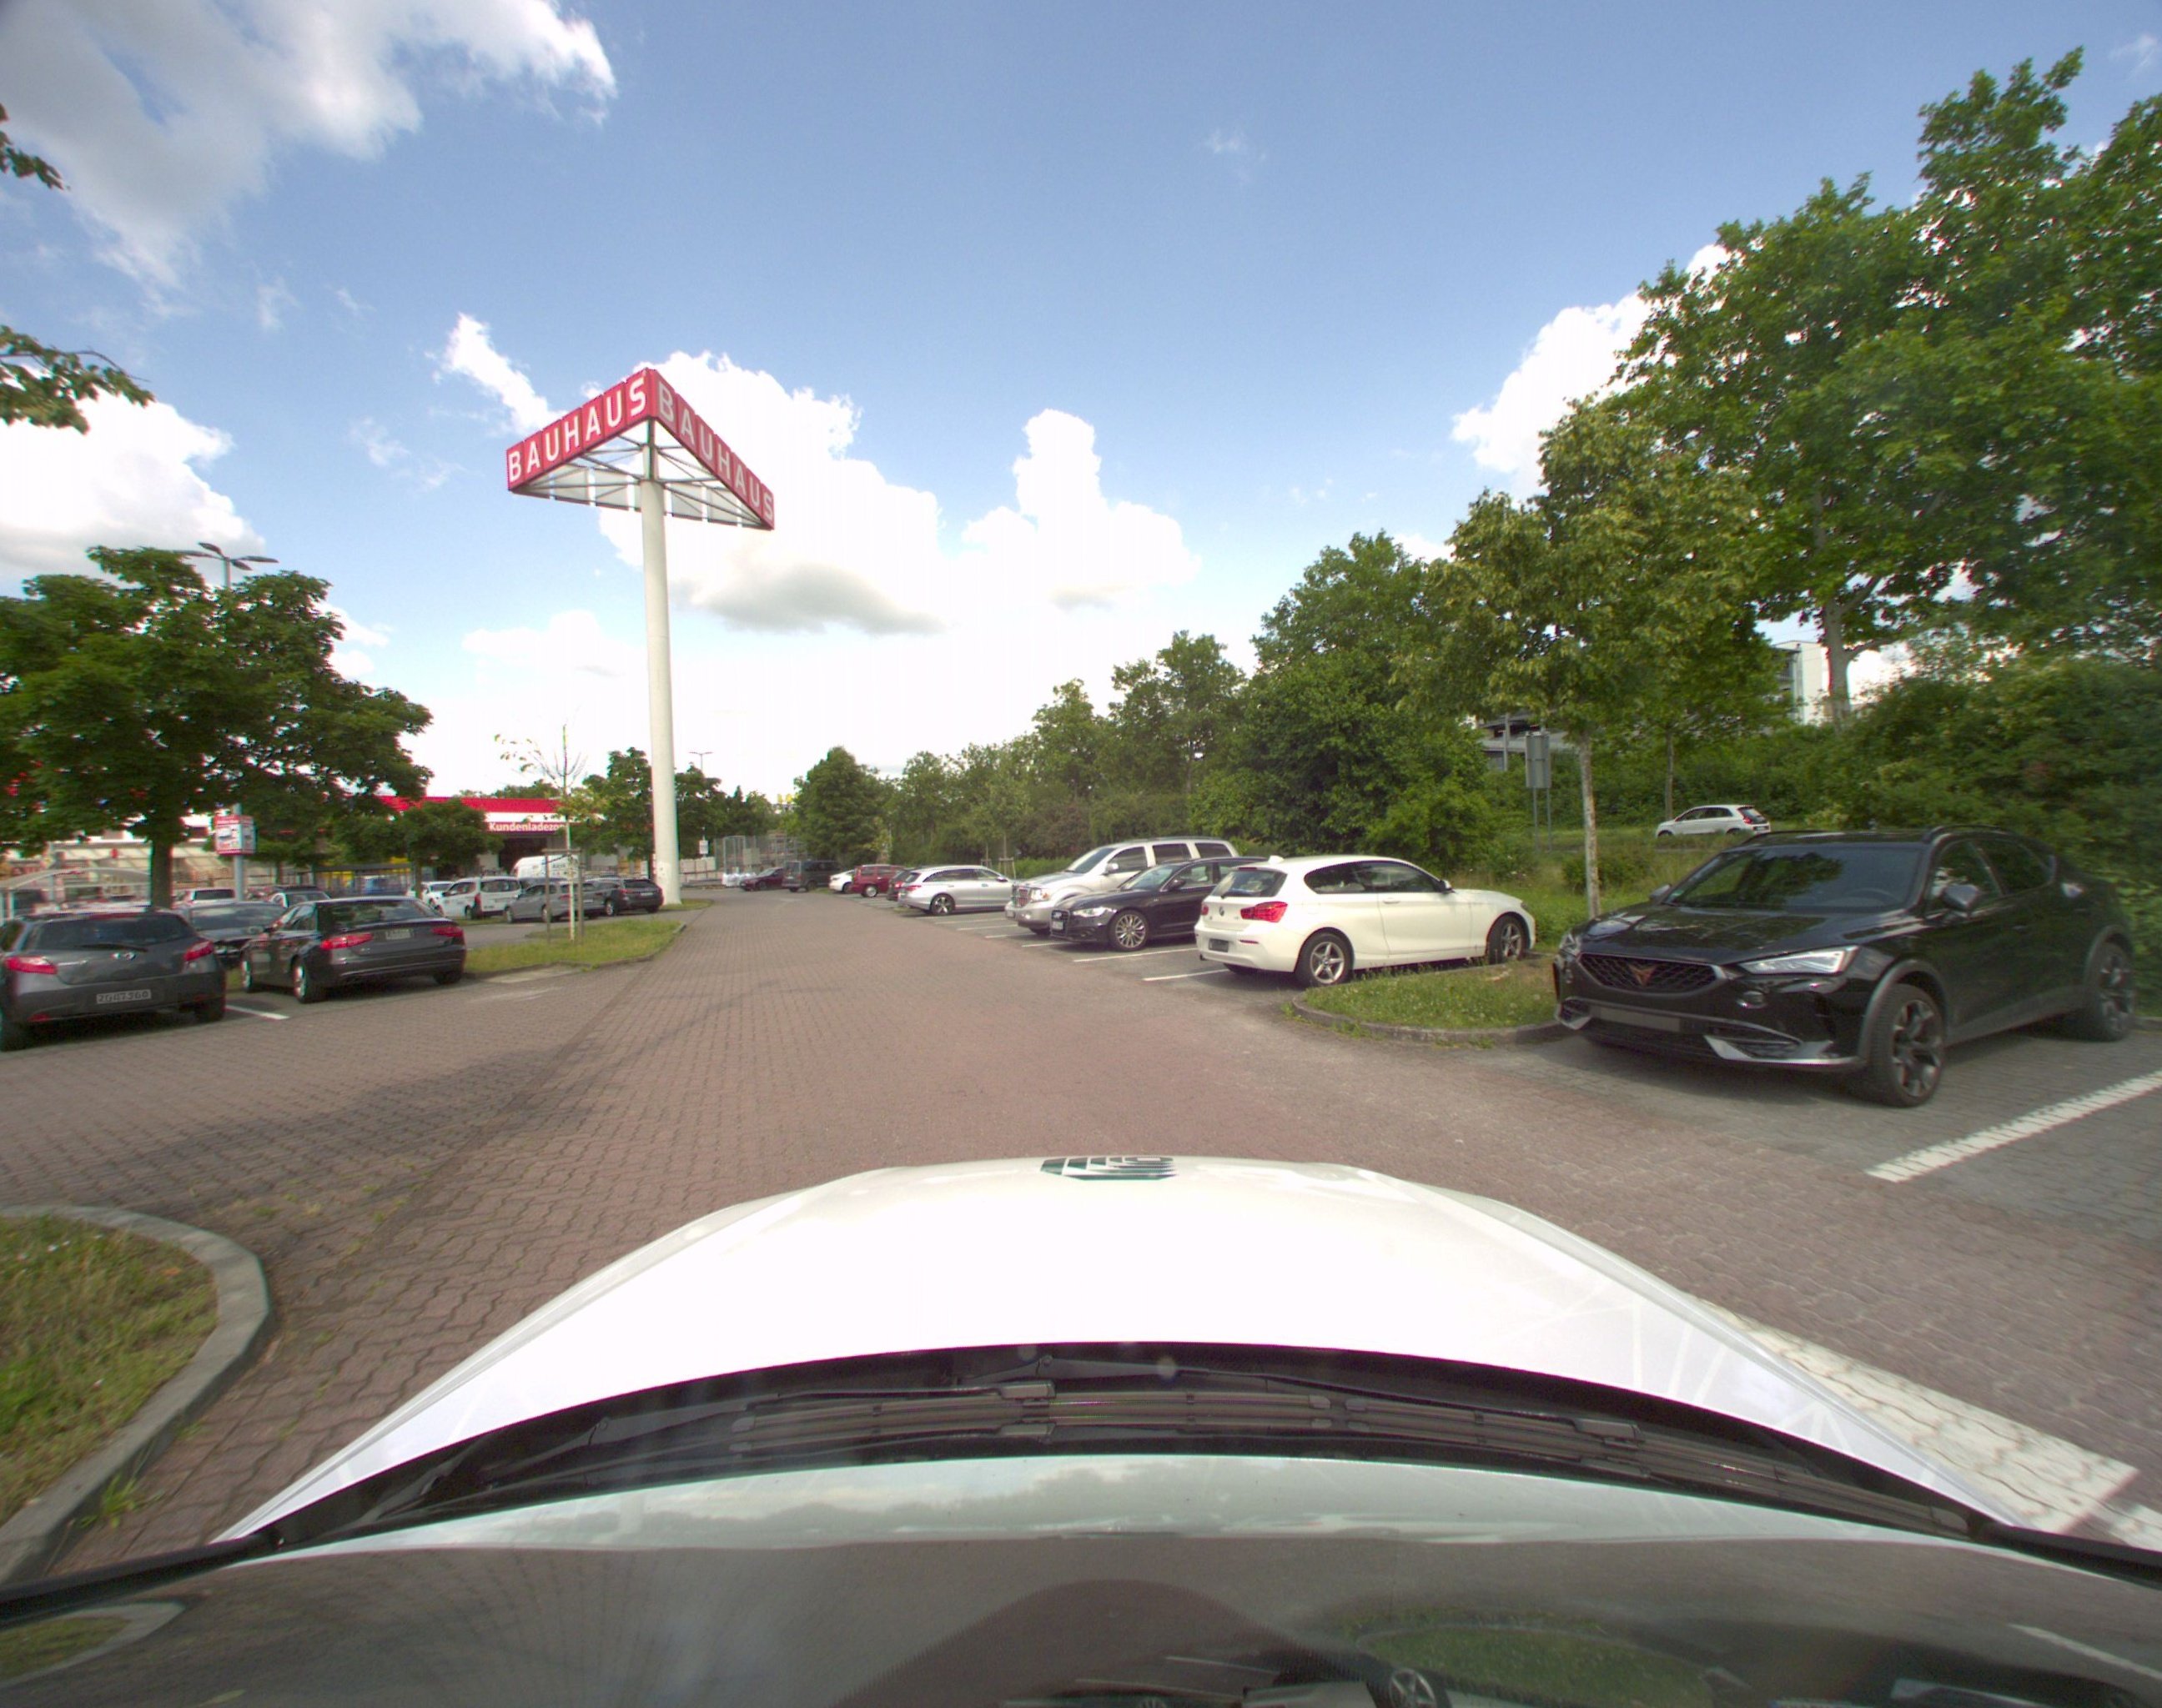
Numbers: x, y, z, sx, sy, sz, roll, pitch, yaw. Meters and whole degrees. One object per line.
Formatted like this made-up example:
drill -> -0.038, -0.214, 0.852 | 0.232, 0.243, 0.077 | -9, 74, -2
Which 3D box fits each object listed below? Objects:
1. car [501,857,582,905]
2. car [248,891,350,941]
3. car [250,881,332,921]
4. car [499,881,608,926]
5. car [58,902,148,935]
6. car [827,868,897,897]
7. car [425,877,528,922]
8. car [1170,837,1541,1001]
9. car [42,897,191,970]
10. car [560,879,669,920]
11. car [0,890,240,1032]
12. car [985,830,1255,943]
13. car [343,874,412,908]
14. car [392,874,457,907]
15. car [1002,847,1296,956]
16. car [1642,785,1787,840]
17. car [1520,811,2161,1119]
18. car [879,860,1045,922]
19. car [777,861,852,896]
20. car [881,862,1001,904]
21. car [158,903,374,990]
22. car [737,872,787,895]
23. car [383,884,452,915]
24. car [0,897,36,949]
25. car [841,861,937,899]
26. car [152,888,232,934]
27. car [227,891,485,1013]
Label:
car -> -30.484, 1.523, 45.980 | 4.667, 2.510, 2.066 | -2, -1, 33
car -> -28.313, 2.223, 29.466 | 3.948, 1.596, 1.731 | -3, 0, 33
car -> -35.801, 2.085, 36.895 | 3.426, 1.524, 1.776 | 1, 3, 31
car -> -19.350, 1.824, 29.852 | 3.725, 1.446, 1.736 | -3, 0, 28
car -> -42.085, 2.780, 35.055 | 3.422, 1.340, 1.753 | -3, -3, 27
car -> -12.706, 1.633, 47.236 | 3.649, 1.468, 1.621 | -3, -2, -24
car -> -24.624, 1.853, 33.160 | 3.948, 1.596, 1.922 | -3, 0, 31
car -> 3.320, 0.673, 9.875 | 4.084, 1.509, 1.678 | -3, -1, -21
car -> -25.171, 2.034, 21.249 | 3.677, 1.615, 1.763 | -3, 0, 29
car -> -18.606, 1.828, 32.475 | 4.038, 1.439, 1.839 | -3, 0, 28
car -> -12.355, 1.238, 10.198 | 3.948, 1.369, 1.589 | -3, 0, 30
car -> 0.826, 0.575, 16.726 | 5.156, 1.842, 1.974 | -3, 0, -25
car -> -44.072, 2.333, 51.033 | 3.949, 2.014, 2.012 | -3, -3, 29
car -> -43.157, 2.415, 53.525 | 3.949, 2.014, 2.012 | -3, -3, 29
car -> 1.185, 0.728, 14.137 | 4.729, 1.451, 1.826 | -3, 0, -22
car -> 24.649, -1.580, 31.854 | 2.003, 1.808, 3.967 | -3, 0, -25
car -> 5.349, 0.522, 5.685 | 4.248, 1.410, 1.720 | -3, 0, -23
car -> -3.603, 1.065, 24.771 | 4.661, 1.504, 1.770 | -3, 0, -24
car -> -16.765, 1.535, 51.411 | 1.922, 2.019, 4.083 | -4, -2, 37
car -> -5.099, 1.055, 29.726 | 4.006, 1.381, 1.685 | -1, -3, -25
car -> -14.994, 1.637, 14.960 | 4.014, 1.352, 1.804 | -3, -3, 30
car -> -20.945, 1.951, 53.493 | 1.337, 1.432, 2.706 | -4, -4, 40
car -> -33.054, 2.276, 40.569 | 3.578, 1.405, 1.552 | -3, -3, 31
car -> -39.943, 2.562, 29.456 | 3.949, 1.778, 2.013 | -3, 0, 30
car -> -9.558, 1.279, 40.525 | 4.328, 1.596, 1.983 | -3, 0, -25
car -> -37.765, 2.435, 34.600 | 3.126, 1.743, 1.612 | -3, 1, 31
car -> -11.100, 1.384, 12.388 | 4.483, 1.432, 1.783 | -3, 0, 33
